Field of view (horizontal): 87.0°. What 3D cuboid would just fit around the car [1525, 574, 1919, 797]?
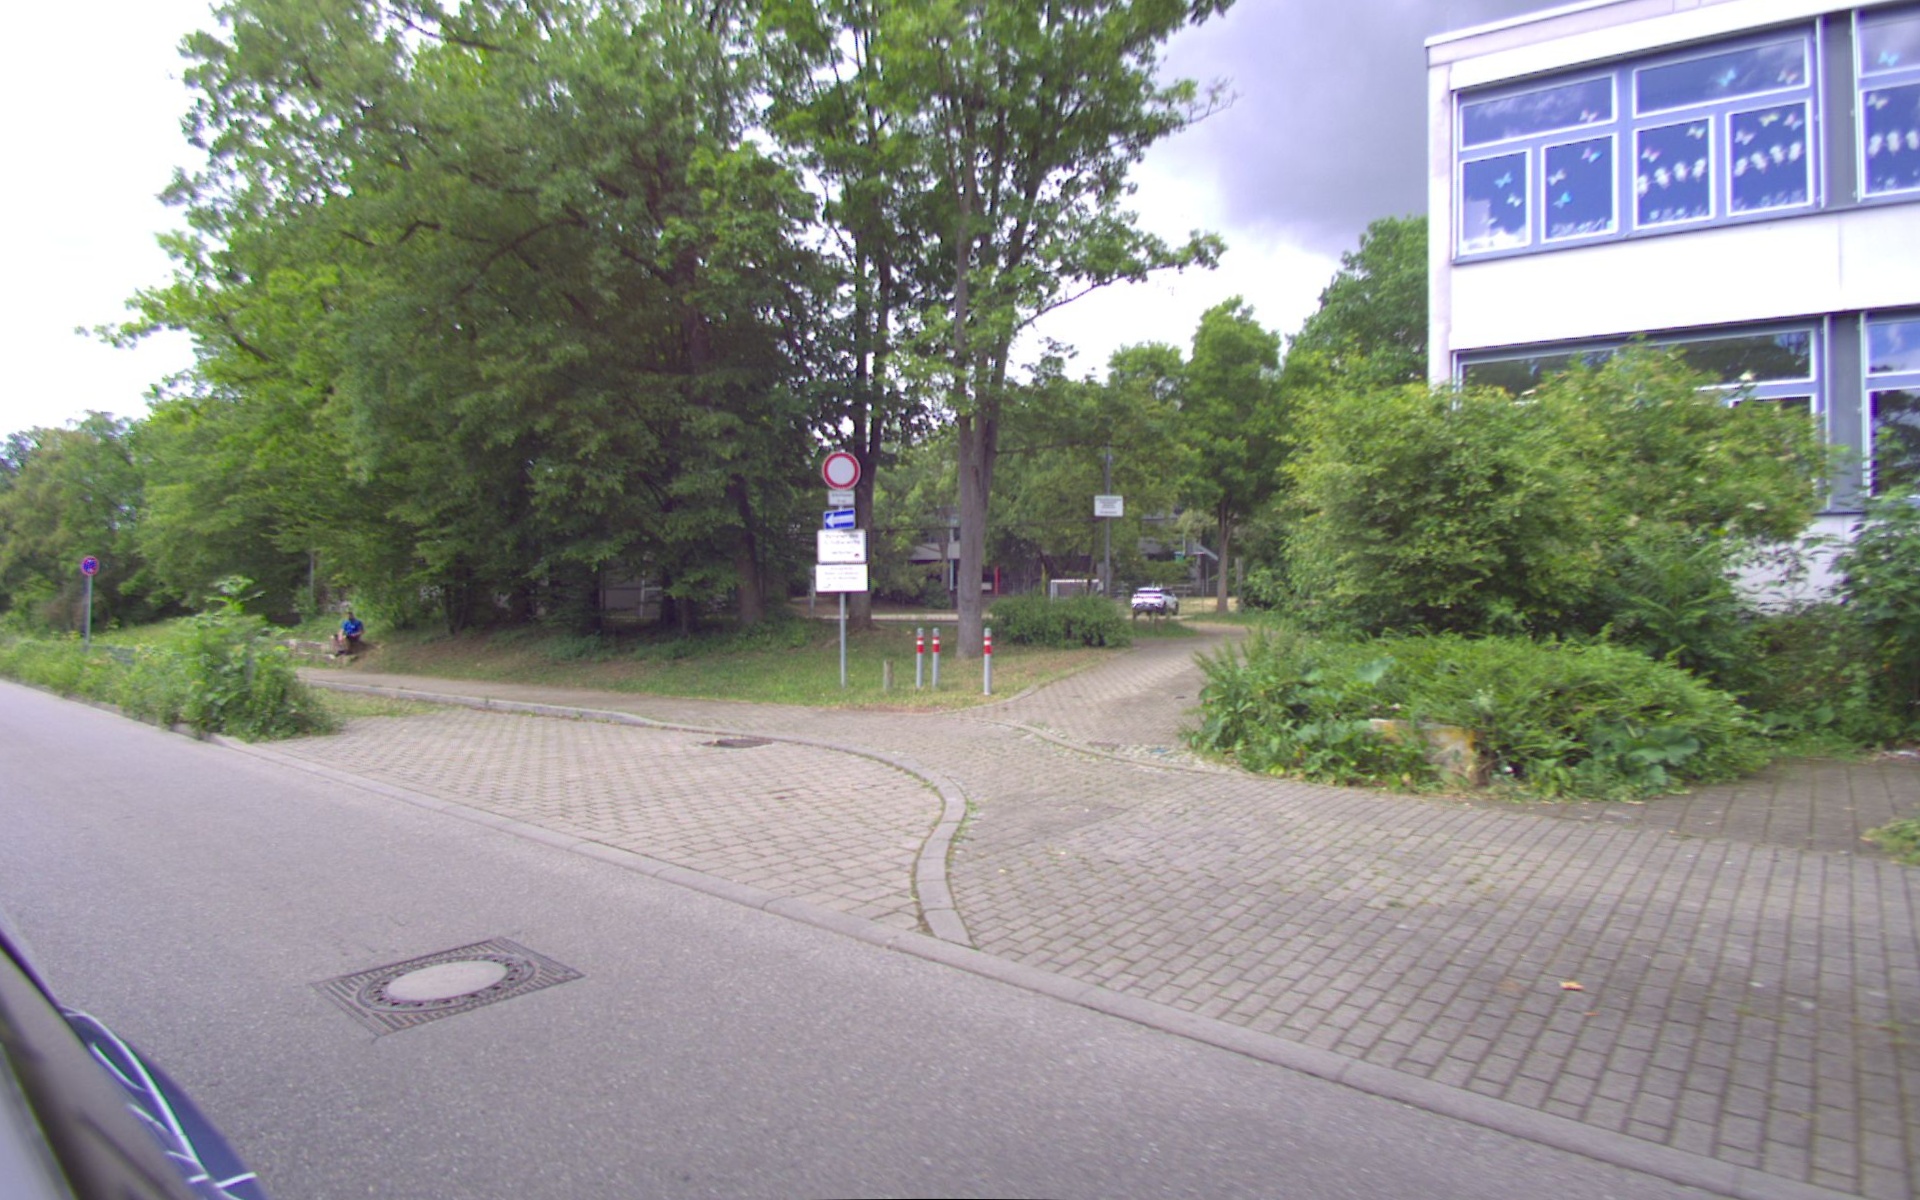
[{"bbox_3d":[8.684,0.838,10.953,1.967,2.029,4.009,1,-3,-37],"label":"car"}]

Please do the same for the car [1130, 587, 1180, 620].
[{"bbox_3d":[11.235,0.224,58.030,1.962,1.707,4.414,-1,-2,23],"label":"car"}]

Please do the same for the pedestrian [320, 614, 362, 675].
[{"bbox_3d":[-17.253,1.238,28.188,0.808,1.675,0.752,-2,-3,39],"label":"pedestrian"}]
